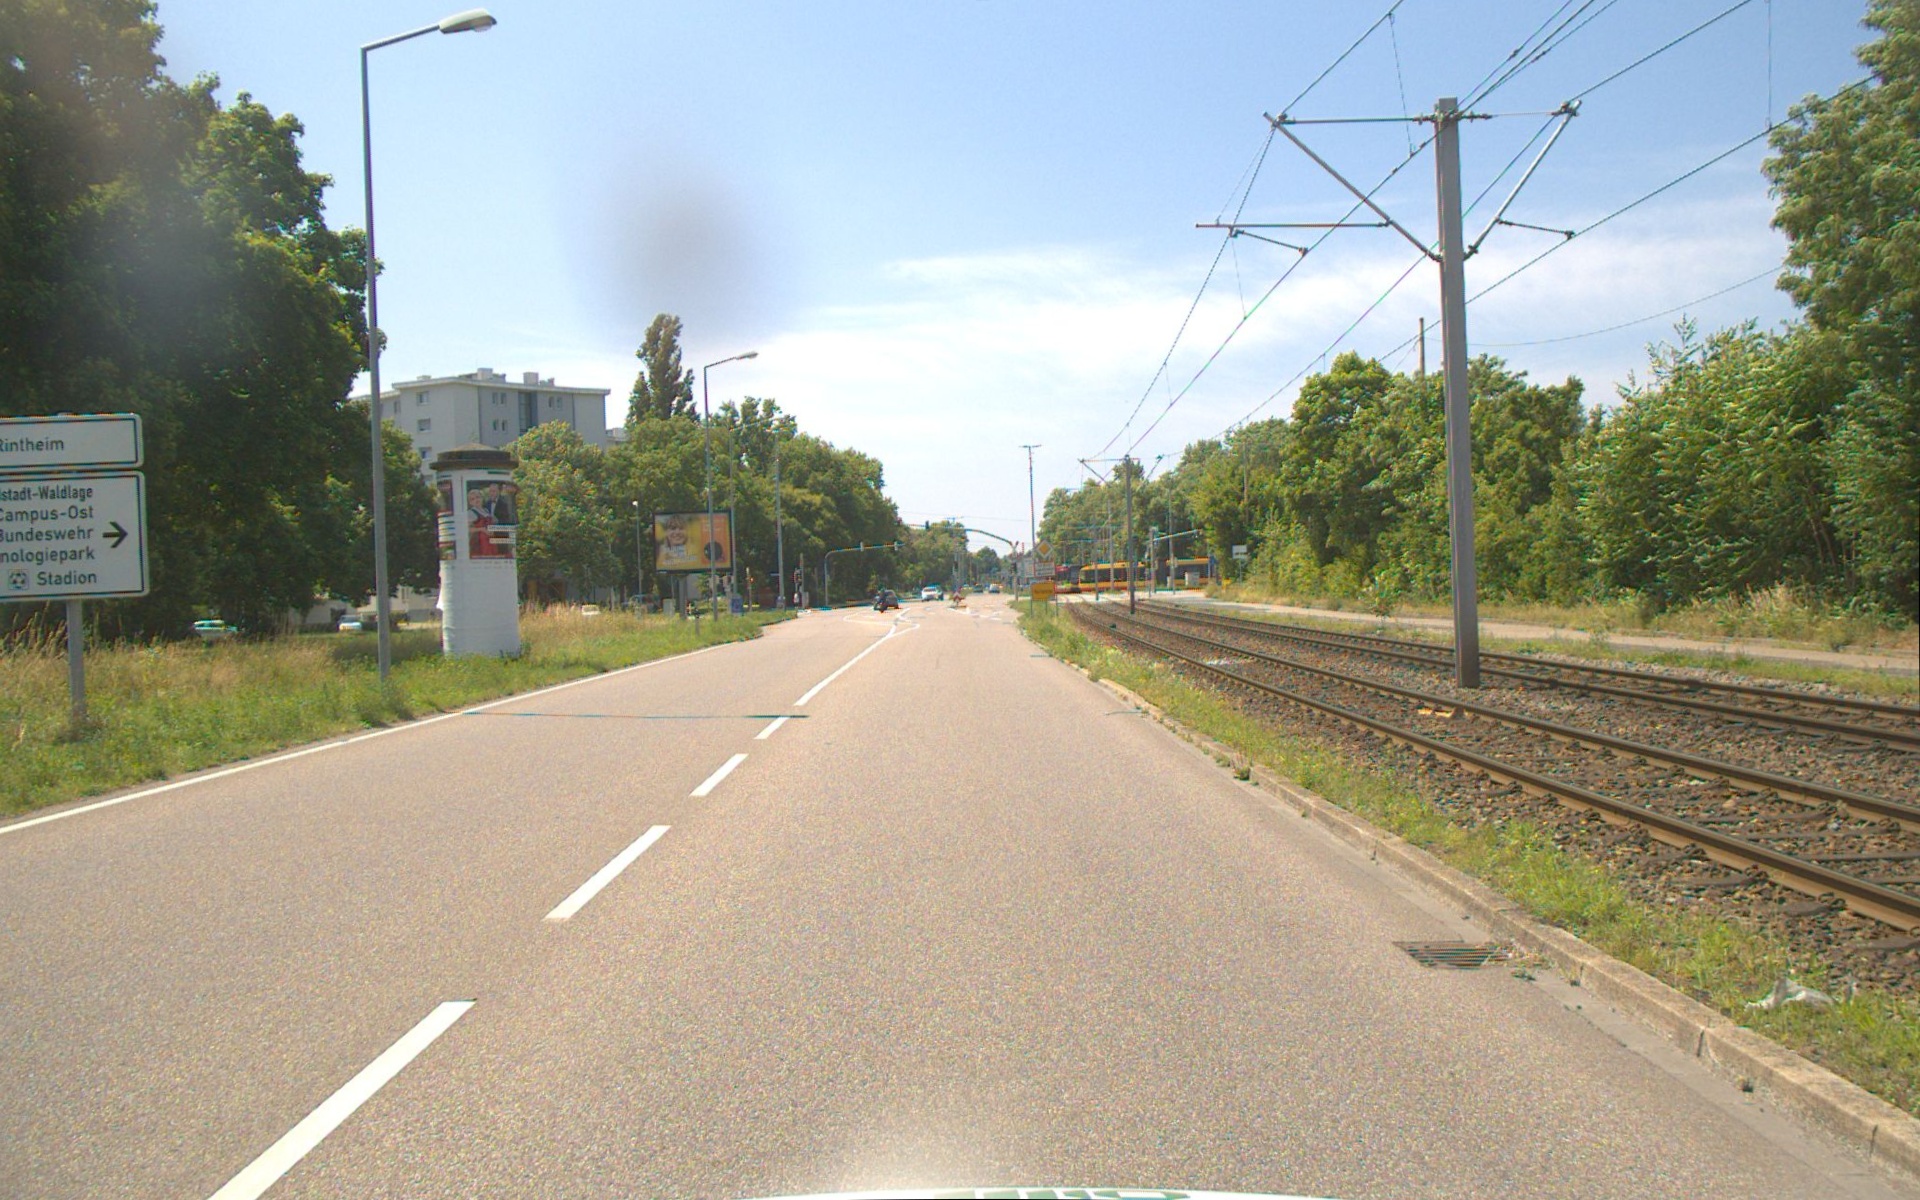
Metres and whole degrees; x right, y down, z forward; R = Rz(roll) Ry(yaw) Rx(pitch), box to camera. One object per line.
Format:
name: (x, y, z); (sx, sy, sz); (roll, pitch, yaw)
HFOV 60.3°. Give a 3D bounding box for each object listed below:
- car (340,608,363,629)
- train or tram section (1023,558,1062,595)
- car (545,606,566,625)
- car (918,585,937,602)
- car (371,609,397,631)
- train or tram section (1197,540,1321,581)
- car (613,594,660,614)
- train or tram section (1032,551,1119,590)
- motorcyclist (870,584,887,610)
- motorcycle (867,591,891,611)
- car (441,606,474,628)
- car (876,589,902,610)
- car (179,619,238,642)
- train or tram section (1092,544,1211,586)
car: (-49.485, 1.467, 134.567); (1.664, 1.589, 3.814); (-3, 0, -21)
train or tram section: (10.370, -2.954, 209.070); (2.858, 3.878, 13.054); (-1, -2, -6)
car: (-34.308, 1.281, 140.179); (1.591, 1.489, 3.984); (-1, 0, -15)
car: (-3.443, -0.681, 174.312); (1.748, 1.657, 3.866); (-2, 0, 1)
car: (-47.276, 1.610, 135.782); (1.820, 1.741, 3.974); (-1, 1, -22)
train or tram section: (33.673, -4.461, 186.866); (13.622, 3.988, 2.925); (-2, -3, 8)
car: (-32.558, 0.419, 166.639); (1.759, 1.798, 4.525); (-2, 0, 40)
train or tram section: (13.805, -3.449, 198.800); (2.888, 3.878, 13.296); (0, -3, -33)
motorcyclist: (-5.311, -0.223, 107.687); (0.773, 1.671, 1.212); (-1, 0, 15)
motorcycle: (-5.247, 0.066, 107.756); (0.829, 1.277, 2.451); (-1, 0, 15)
car: (-41.841, 1.411, 137.707); (1.826, 1.697, 3.961); (-3, 0, -29)
car: (-5.281, -0.059, 123.584); (1.868, 1.525, 4.629); (-1, 0, -1)
car: (-55.063, 2.244, 121.194); (3.835, 1.494, 1.762); (-2, 0, -24)
train or tram section: (22.070, -4.004, 191.155); (13.744, 3.988, 2.916); (-3, -3, 32)
